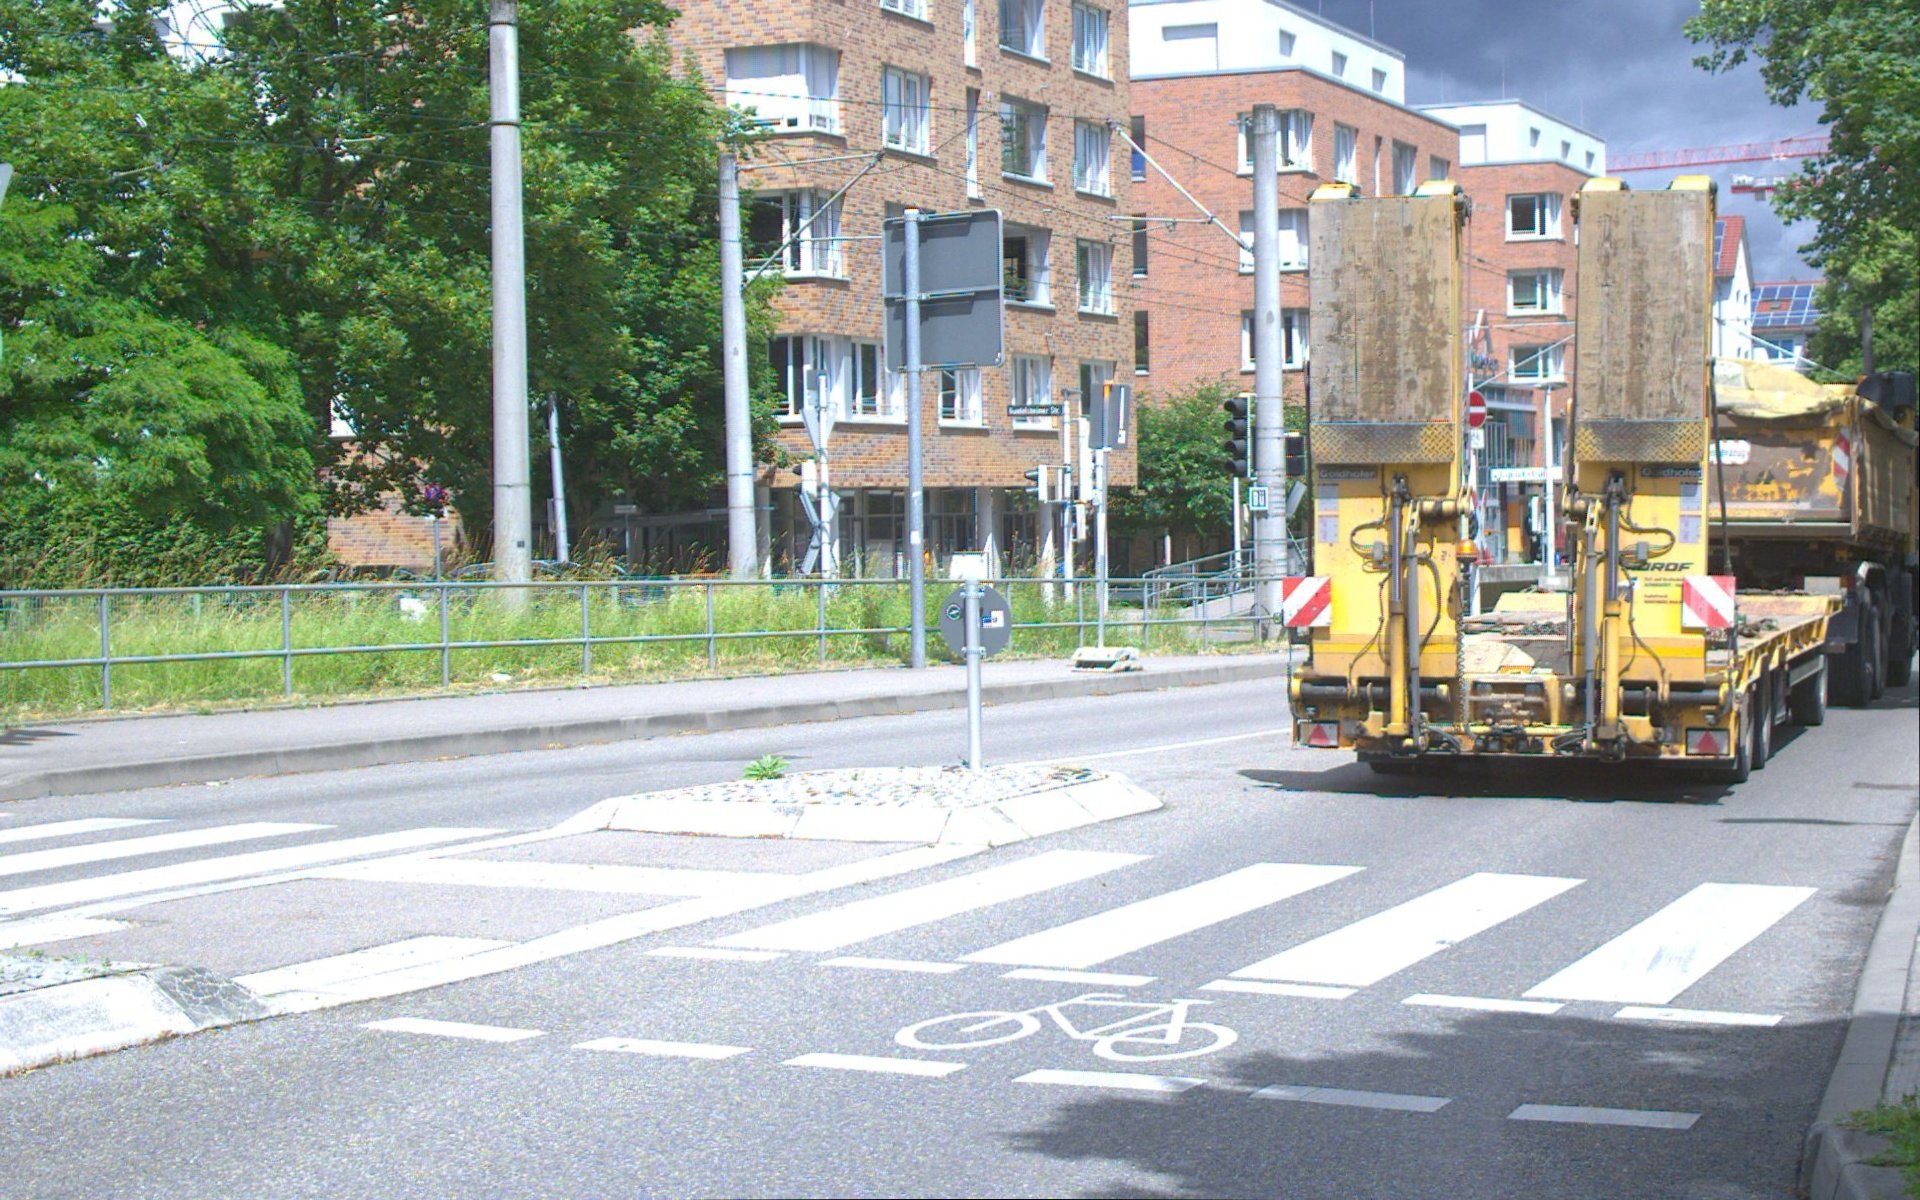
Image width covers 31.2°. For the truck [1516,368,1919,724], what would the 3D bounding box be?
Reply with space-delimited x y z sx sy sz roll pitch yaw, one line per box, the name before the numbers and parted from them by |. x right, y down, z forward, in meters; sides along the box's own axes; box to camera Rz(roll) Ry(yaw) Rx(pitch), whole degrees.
truck | 7.822 -0.676 33.673 2.991 3.024 8.478 1 3 21

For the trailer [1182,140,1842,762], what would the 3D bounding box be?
trailer | 4.365 -0.883 24.367 2.866 3.361 10.831 -2 0 18

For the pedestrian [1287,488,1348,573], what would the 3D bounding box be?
pedestrian | 8.582 -1.665 82.471 1.139 2.007 0.997 -1 1 28
